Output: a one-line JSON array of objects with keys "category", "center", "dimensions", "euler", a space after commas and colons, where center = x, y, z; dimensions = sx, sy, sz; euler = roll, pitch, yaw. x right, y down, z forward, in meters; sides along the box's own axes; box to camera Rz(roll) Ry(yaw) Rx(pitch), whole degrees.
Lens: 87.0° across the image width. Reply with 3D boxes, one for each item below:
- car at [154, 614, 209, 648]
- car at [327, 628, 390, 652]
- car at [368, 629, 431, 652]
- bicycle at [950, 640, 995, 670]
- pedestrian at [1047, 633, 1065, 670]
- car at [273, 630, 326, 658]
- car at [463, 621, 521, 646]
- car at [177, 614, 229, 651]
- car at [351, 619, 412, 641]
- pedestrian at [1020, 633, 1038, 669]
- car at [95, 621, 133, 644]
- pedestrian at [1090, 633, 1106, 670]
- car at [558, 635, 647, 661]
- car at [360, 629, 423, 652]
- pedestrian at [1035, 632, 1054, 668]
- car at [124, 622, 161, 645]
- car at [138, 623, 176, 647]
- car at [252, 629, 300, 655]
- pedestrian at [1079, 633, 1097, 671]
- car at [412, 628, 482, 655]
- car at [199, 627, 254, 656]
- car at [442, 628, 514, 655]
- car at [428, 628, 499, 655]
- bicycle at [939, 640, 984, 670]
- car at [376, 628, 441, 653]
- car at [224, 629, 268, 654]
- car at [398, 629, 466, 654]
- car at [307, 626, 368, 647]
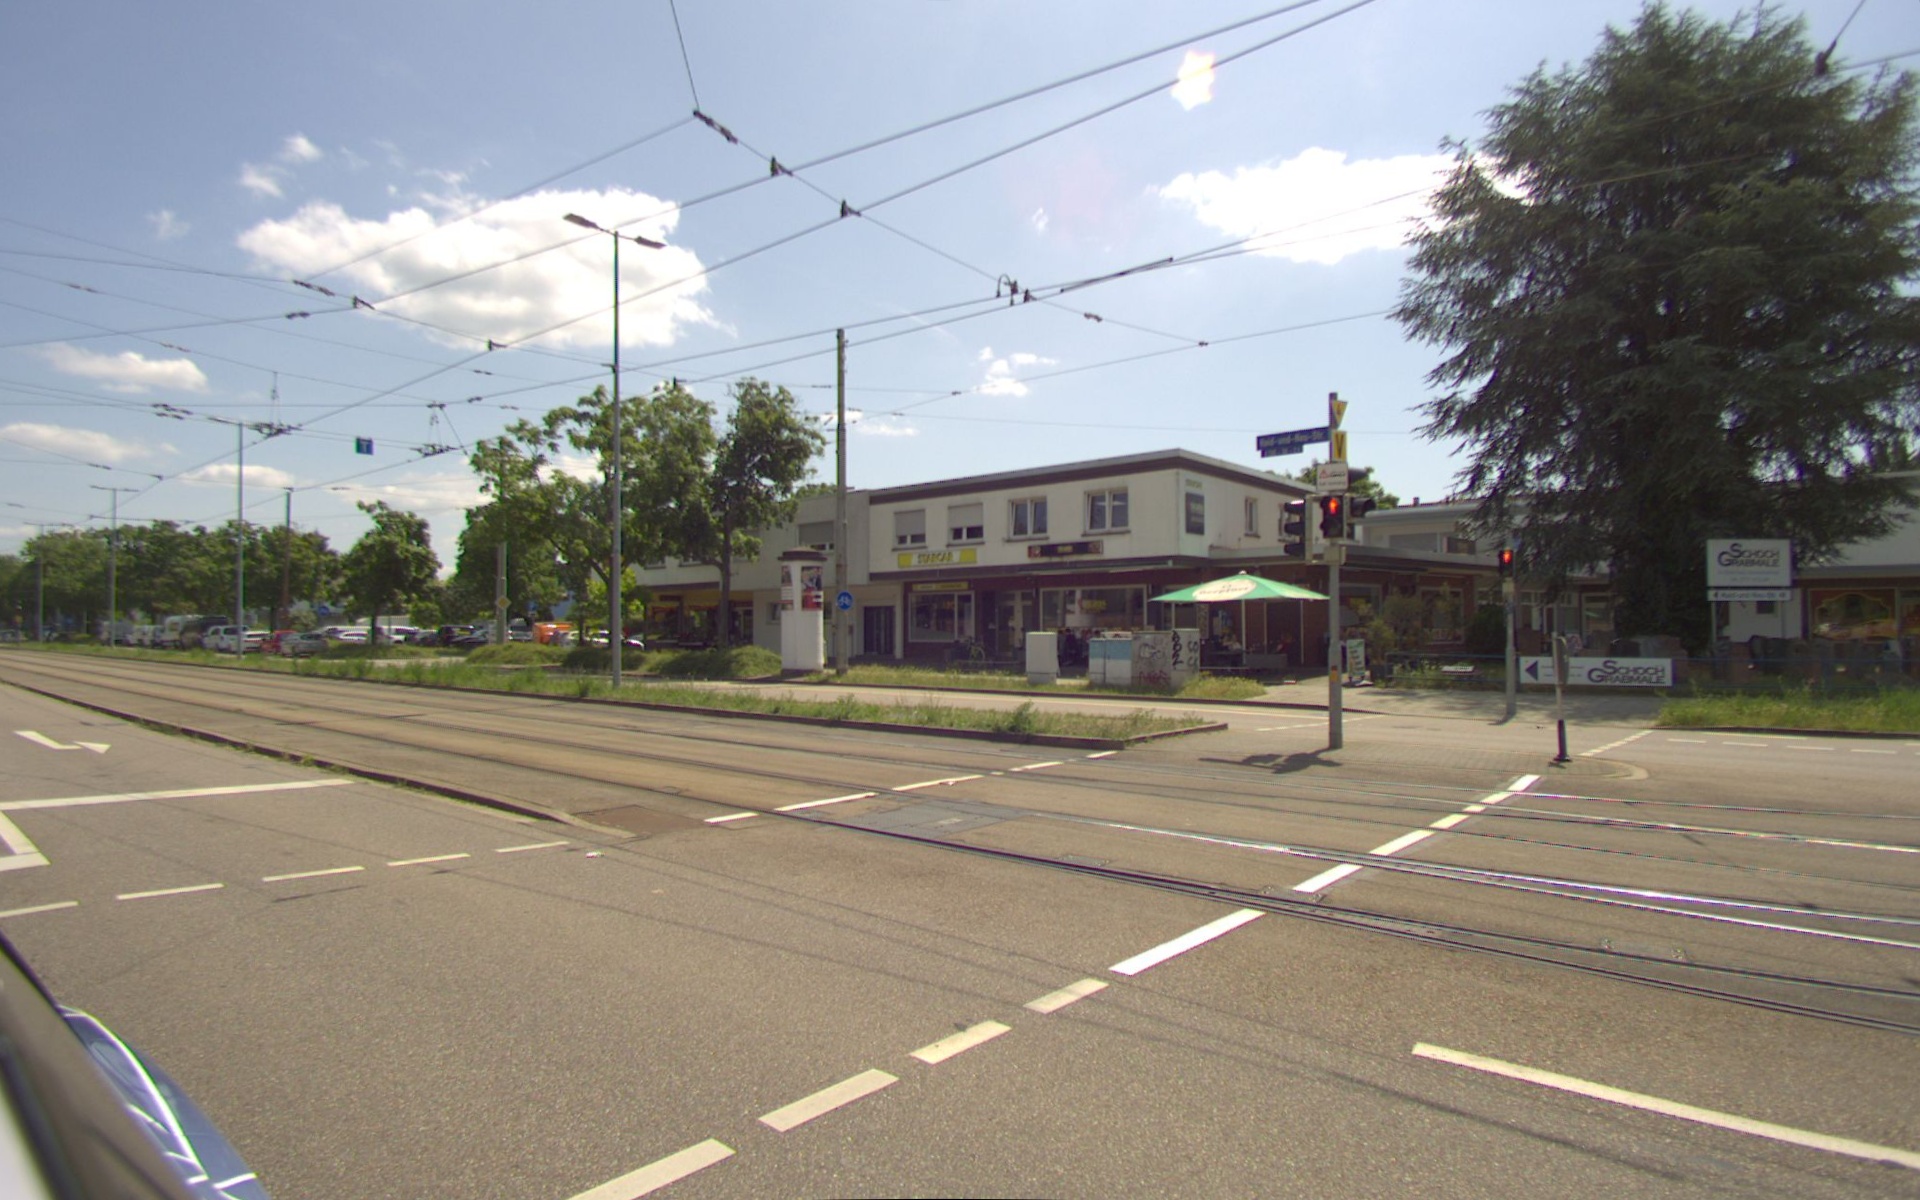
[{"category": "car", "center": [-62.344, 2.443, 80.991], "dimensions": [6.700, 2.631, 2.128], "euler": [-1, 0, 40]}, {"category": "car", "center": [-48.477, 3.223, 81.546], "dimensions": [1.803, 1.749, 3.944], "euler": [-1, -4, 42]}, {"category": "car", "center": [-43.724, 3.150, 78.999], "dimensions": [1.902, 1.749, 3.944], "euler": [-2, -3, 41]}, {"category": "bicycle", "center": [0.421, 1.933, 35.953], "dimensions": [1.801, 1.049, 0.393], "euler": [-2, -3, 43]}, {"category": "pedestrian", "center": [3.306, 1.783, 34.936], "dimensions": [0.528, 1.278, 0.340], "euler": [-2, -3, 44]}, {"category": "car", "center": [-39.499, 2.612, 60.512], "dimensions": [4.550, 1.551, 1.559], "euler": [-1, 0, 42]}, {"category": "car", "center": [-44.690, 3.226, 96.704], "dimensions": [1.849, 2.242, 4.594], "euler": [-1, -4, 38]}, {"category": "car", "center": [-56.347, 2.400, 75.270], "dimensions": [5.031, 2.631, 2.128], "euler": [-1, 0, 41]}, {"category": "car", "center": [-66.562, 3.500, 116.512], "dimensions": [2.257, 2.500, 5.627], "euler": [-2, -3, 38]}, {"category": "pedestrian", "center": [2.452, 1.795, 35.776], "dimensions": [0.532, 1.278, 0.349], "euler": [-2, -3, 42]}, {"category": "car", "center": [-82.854, 3.149, 99.096], "dimensions": [4.485, 2.117, 2.046], "euler": [-1, 0, 40]}, {"category": "pedestrian", "center": [4.754, 1.762, 34.911], "dimensions": [0.400, 1.256, 0.382], "euler": [-2, -3, 42]}, {"category": "car", "center": [-20.319, 2.694, 57.619], "dimensions": [1.907, 1.445, 4.424], "euler": [-2, -3, 43]}, {"category": "car", "center": [-45.446, 3.236, 80.971], "dimensions": [1.803, 1.749, 3.944], "euler": [-1, -4, 42]}, {"category": "pedestrian", "center": [3.021, 1.784, 36.194], "dimensions": [0.580, 1.278, 0.348], "euler": [-2, -3, 42]}, {"category": "car", "center": [-73.775, 2.979, 91.312], "dimensions": [4.485, 1.953, 1.772], "euler": [-1, 0, 40]}, {"category": "car", "center": [-68.724, 2.942, 86.611], "dimensions": [4.647, 1.953, 1.771], "euler": [-1, 0, 42]}, {"category": "car", "center": [-43.314, 2.658, 64.078], "dimensions": [3.644, 1.551, 1.485], "euler": [-1, 0, 38]}, {"category": "pedestrian", "center": [4.298, 1.758, 34.076], "dimensions": [0.501, 1.278, 0.315], "euler": [-2, -3, 42]}, {"category": "car", "center": [-36.008, 2.942, 71.035], "dimensions": [1.803, 1.749, 3.944], "euler": [-1, -4, 42]}, {"category": "car", "center": [-51.793, 2.894, 71.454], "dimensions": [4.886, 1.851, 2.128], "euler": [-1, 0, 41]}, {"category": "car", "center": [-32.181, 2.750, 67.673], "dimensions": [1.803, 1.749, 3.944], "euler": [-2, -3, 41]}, {"category": "car", "center": [-34.169, 2.843, 69.695], "dimensions": [1.878, 1.749, 3.944], "euler": [-2, -3, 41]}, {"category": "bicycle", "center": [0.041, 1.918, 35.651], "dimensions": [1.801, 1.049, 0.393], "euler": [-2, -3, 43]}, {"category": "car", "center": [-41.873, 3.097, 76.913], "dimensions": [1.803, 1.749, 3.944], "euler": [-1, -4, 42]}, {"category": "car", "center": [-47.080, 2.711, 66.722], "dimensions": [4.358, 1.551, 1.483], "euler": [-1, 0, 42]}, {"category": "car", "center": [-38.041, 2.956, 72.962], "dimensions": [1.803, 1.749, 3.944], "euler": [-2, -3, 41]}, {"category": "car", "center": [-54.234, 3.204, 88.217], "dimensions": [1.803, 1.749, 4.144], "euler": [-1, -4, 42]}]
